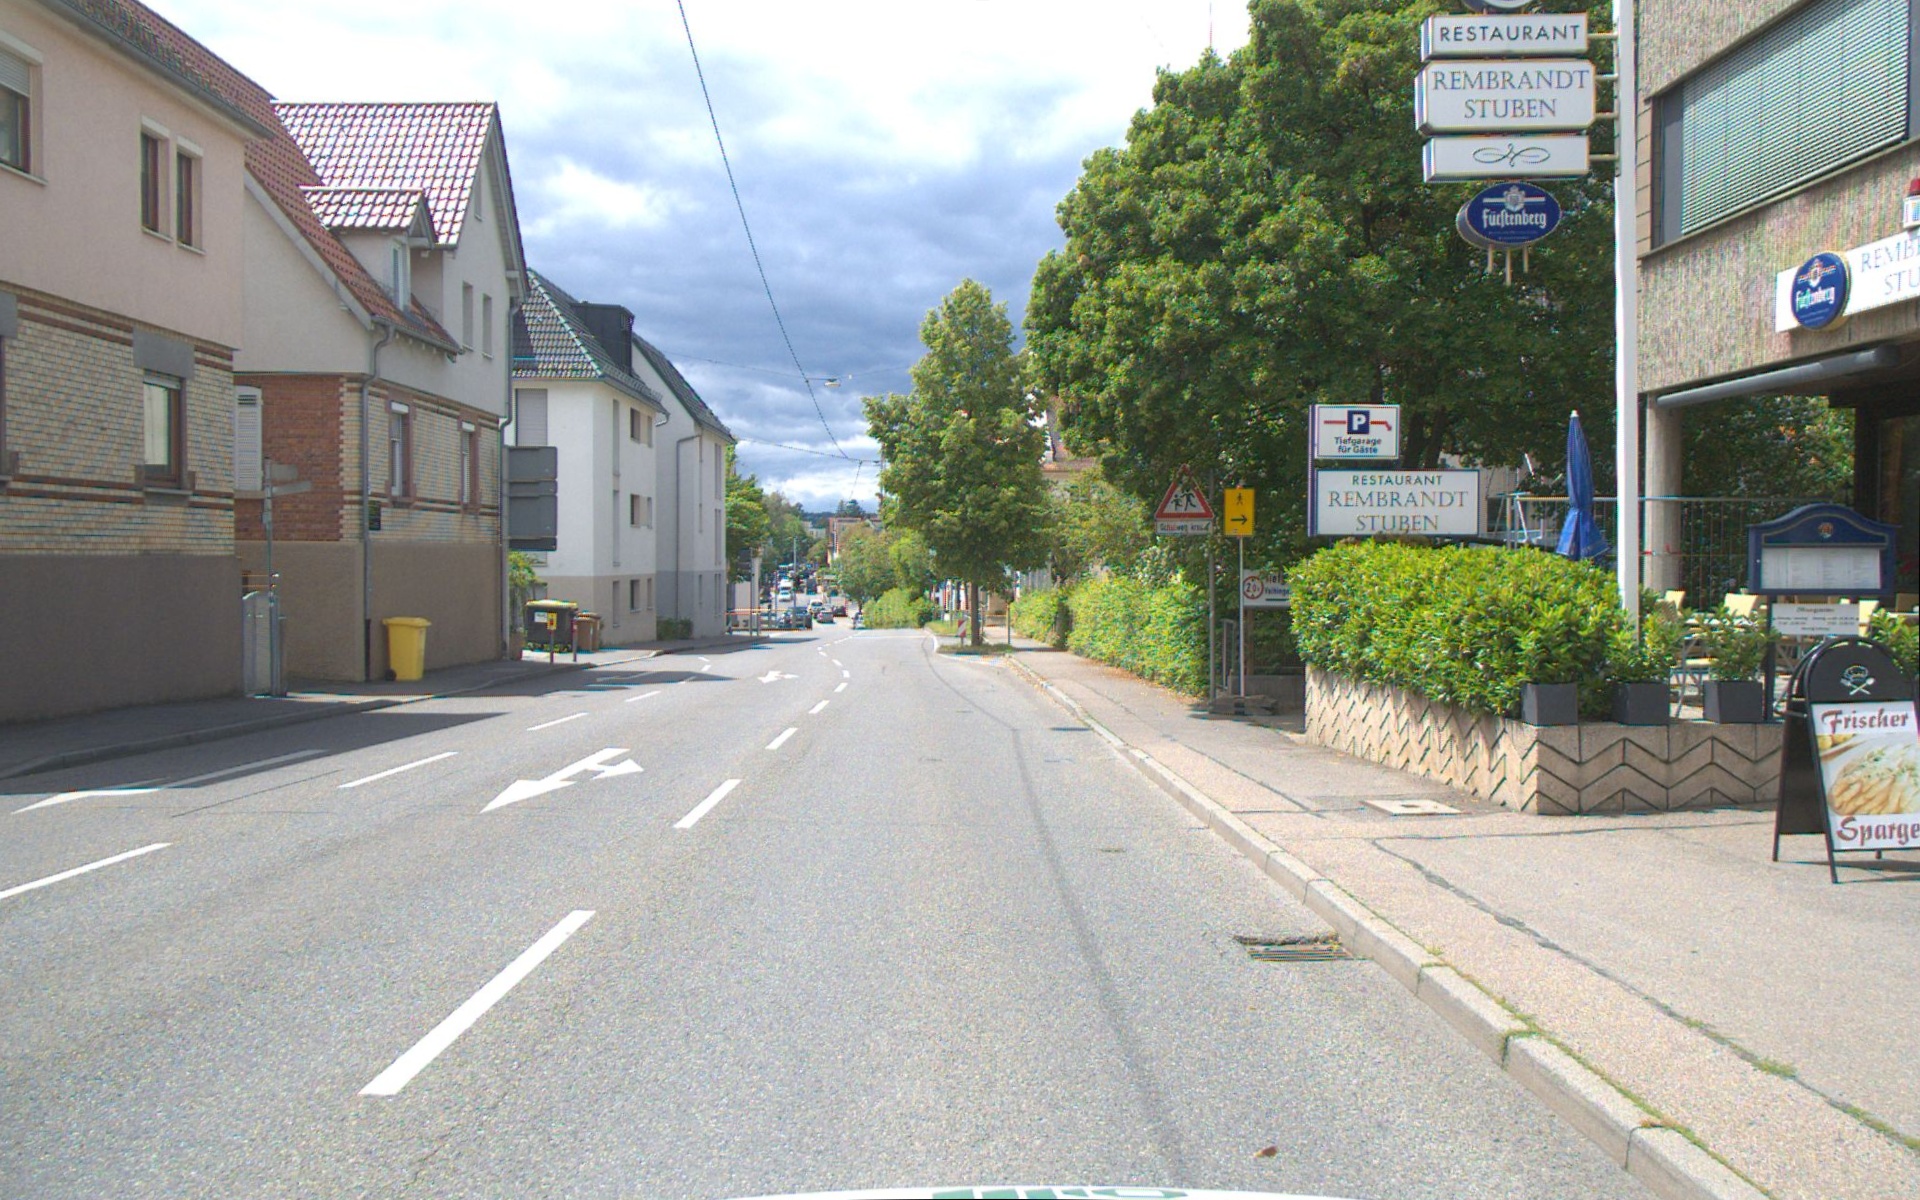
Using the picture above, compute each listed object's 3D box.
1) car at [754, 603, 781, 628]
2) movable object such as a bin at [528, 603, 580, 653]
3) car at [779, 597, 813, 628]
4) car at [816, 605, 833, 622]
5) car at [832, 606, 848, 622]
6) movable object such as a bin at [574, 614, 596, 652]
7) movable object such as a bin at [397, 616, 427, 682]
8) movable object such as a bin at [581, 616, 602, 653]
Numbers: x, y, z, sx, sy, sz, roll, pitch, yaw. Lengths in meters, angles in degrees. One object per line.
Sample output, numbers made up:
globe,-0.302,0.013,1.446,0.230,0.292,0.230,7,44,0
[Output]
car,-15.900,1.275,136.759,1.957,2.049,3.990,0,0,-10
movable object such as a bin,-11.012,0.757,44.864,1.257,1.333,0.815,0,0,-7
car,-11.095,0.839,111.519,1.957,2.049,3.990,0,0,-10
car,-16.269,1.645,198.606,1.955,2.049,3.995,0,-1,-5
car,-15.533,1.813,214.427,1.955,2.049,3.995,0,-1,-5
movable object such as a bin,-10.429,0.918,45.991,0.521,1.048,0.455,0,0,-3
movable object such as a bin,-9.560,0.848,28.857,0.422,1.148,0.299,-1,0,-3
movable object such as a bin,-10.387,0.974,46.629,0.521,1.048,0.455,0,0,-3
